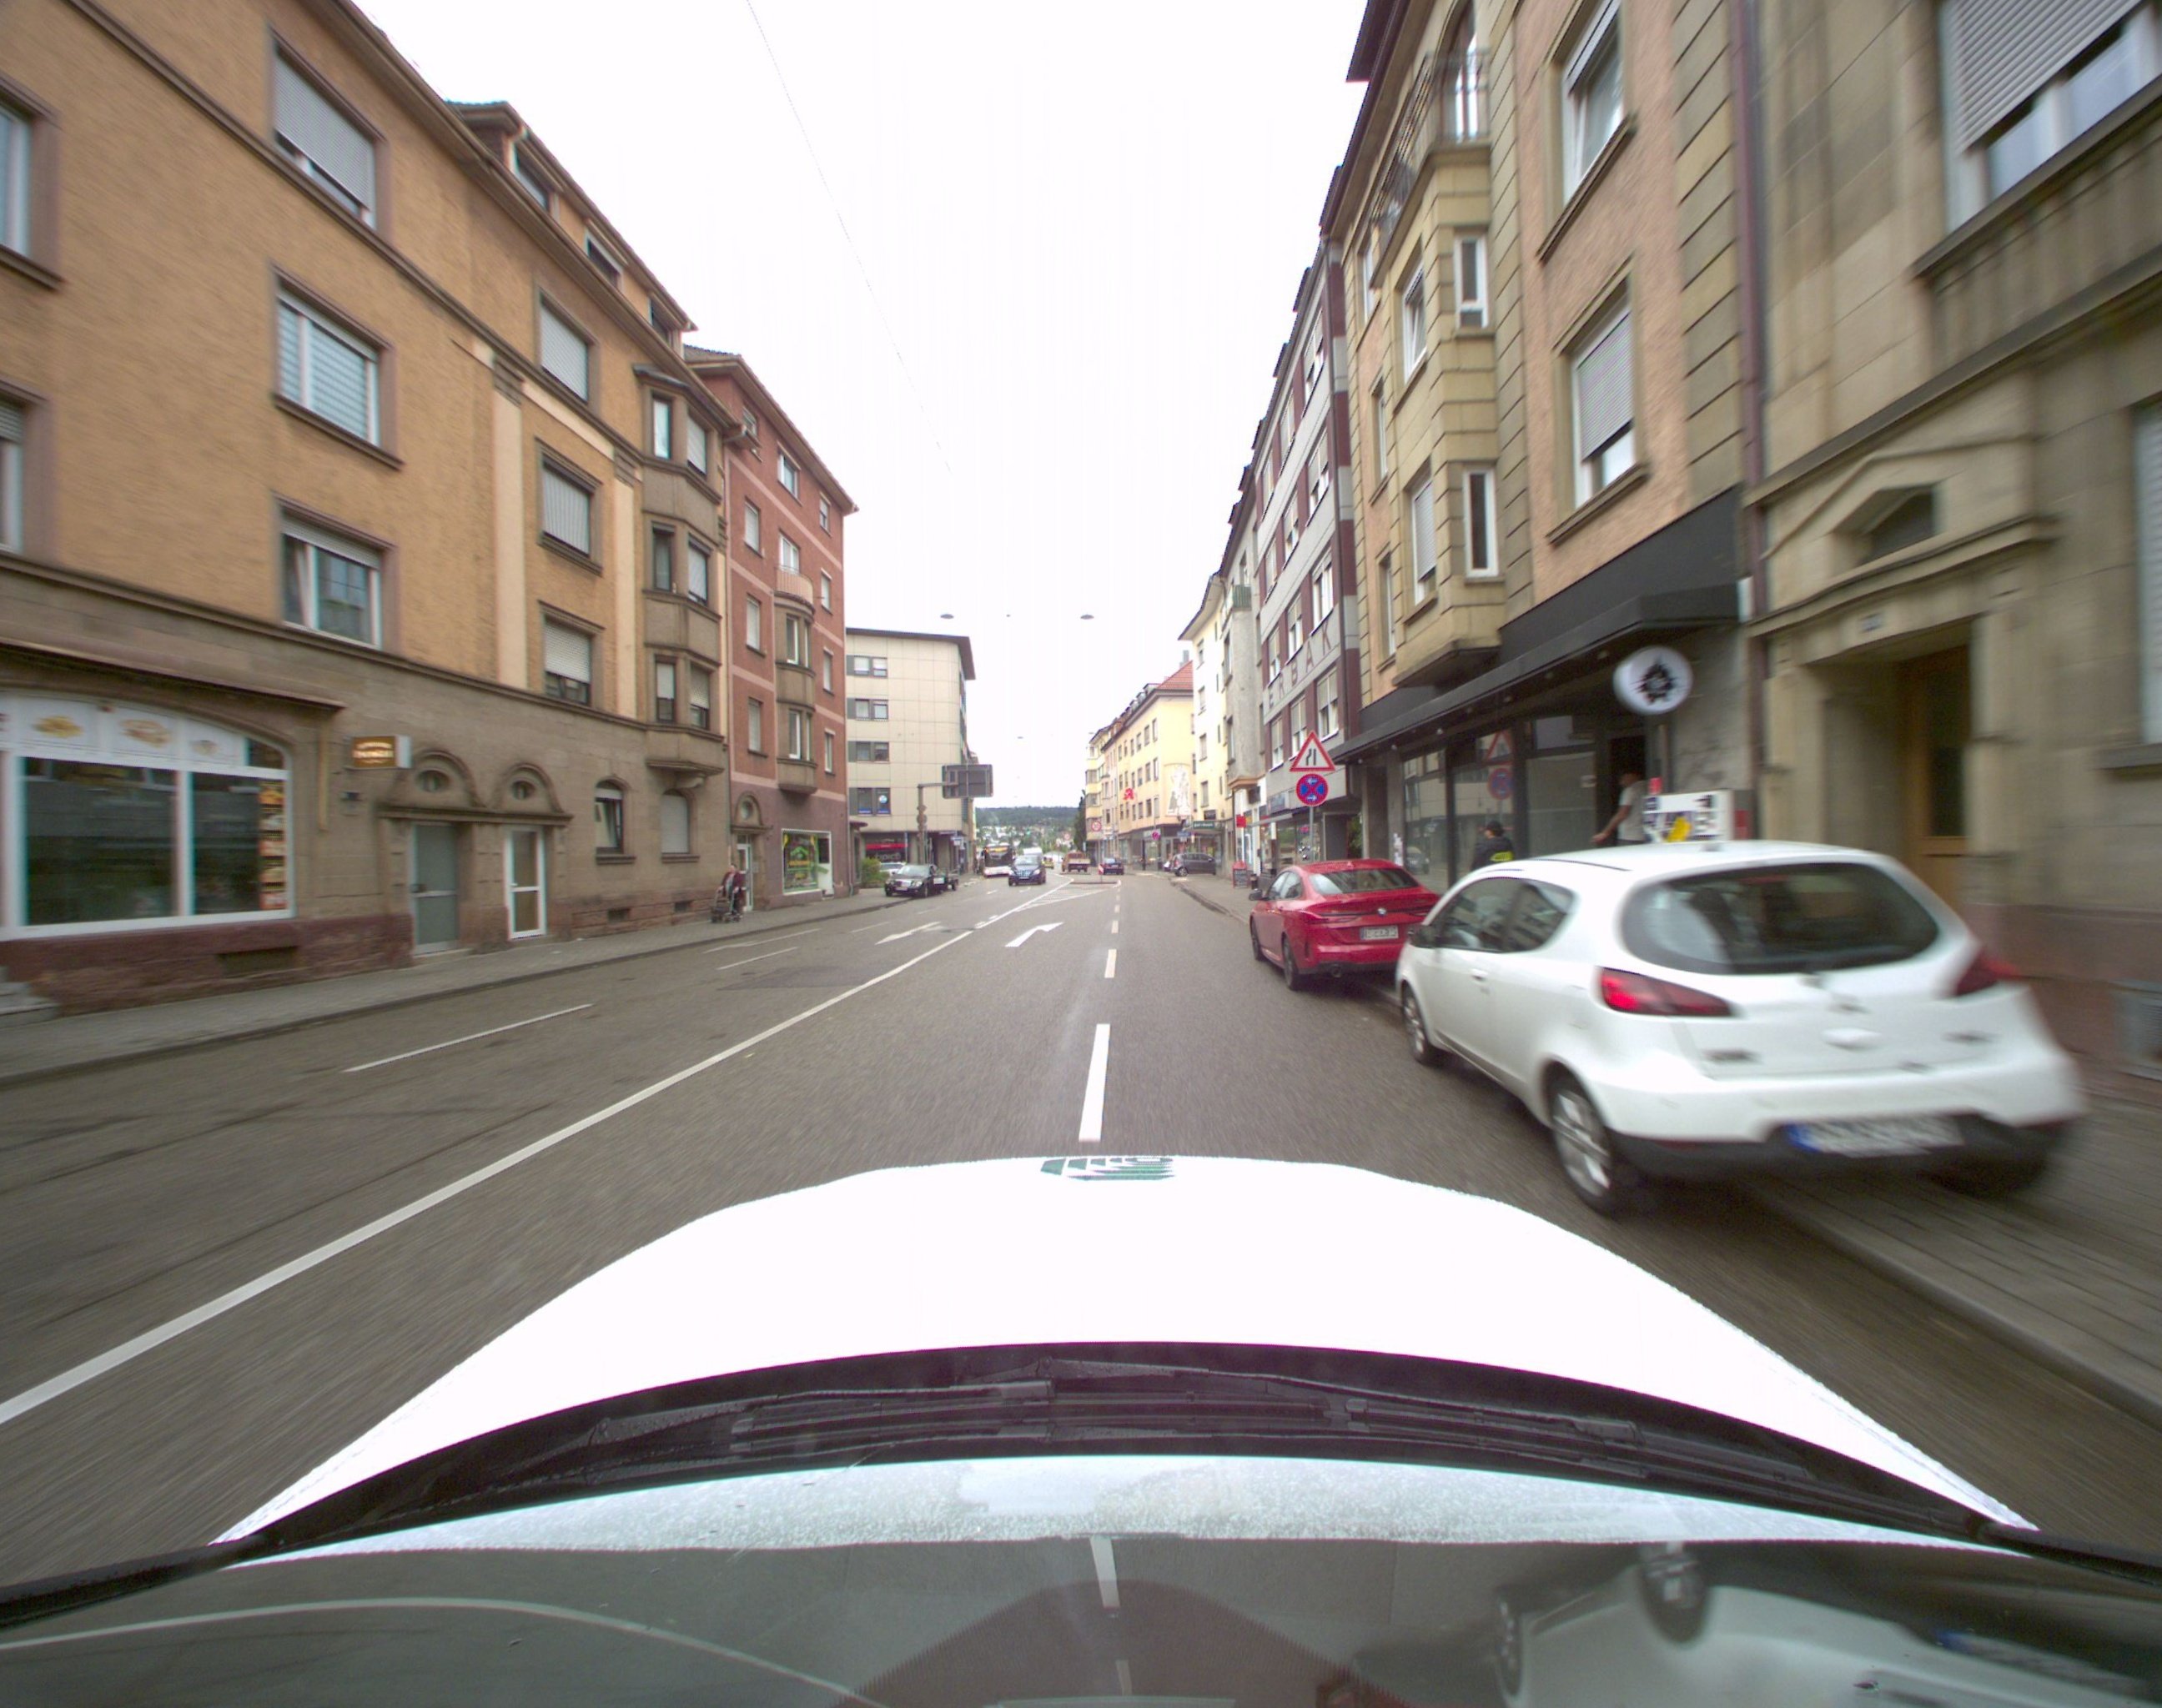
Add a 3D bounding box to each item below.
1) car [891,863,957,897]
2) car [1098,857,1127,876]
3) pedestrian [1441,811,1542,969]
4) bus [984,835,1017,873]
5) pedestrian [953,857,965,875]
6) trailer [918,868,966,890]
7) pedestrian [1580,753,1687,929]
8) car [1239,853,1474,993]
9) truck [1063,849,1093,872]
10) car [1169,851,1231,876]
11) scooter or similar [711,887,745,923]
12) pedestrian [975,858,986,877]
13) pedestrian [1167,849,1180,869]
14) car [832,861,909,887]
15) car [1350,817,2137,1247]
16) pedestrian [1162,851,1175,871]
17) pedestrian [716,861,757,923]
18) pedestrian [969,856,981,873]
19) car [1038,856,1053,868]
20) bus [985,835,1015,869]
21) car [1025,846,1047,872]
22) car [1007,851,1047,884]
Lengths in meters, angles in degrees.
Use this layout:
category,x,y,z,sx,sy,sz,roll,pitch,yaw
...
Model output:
category,x,y,z,sx,sy,sz,roll,pitch,yaw
car,-7.039,1.130,37.064,1.843,1.397,4.795,1,0,2
car,2.522,1.003,65.691,1.752,1.479,3.992,-2,-1,-6
pedestrian,4.882,0.417,9.727,0.741,1.779,0.795,-2,-1,0
bus,-7.333,0.073,74.175,2.755,3.188,8.893,-2,-1,-6
pedestrian,-11.012,1.048,73.670,0.943,1.589,0.833,-2,-1,-4
trailer,-6.960,1.258,41.030,1.580,0.949,3.060,3,0,5
pedestrian,6.226,-0.137,9.211,0.701,1.894,0.649,-2,-1,0
car,3.269,0.716,10.586,1.737,1.369,4.318,-2,0,3
truck,-0.361,0.695,81.528,2.397,2.129,5.303,-2,-1,-6
car,8.018,0.644,54.991,3.817,1.574,1.934,-2,-1,-4
scooter or similar,-9.488,1.368,21.896,0.712,0.925,0.479,0,-1,-10
pedestrian,-9.418,1.261,76.318,0.876,1.692,0.886,-2,-1,-8
pedestrian,7.257,0.402,63.957,0.768,1.560,0.874,-2,-1,-8
car,-13.952,1.328,53.944,4.652,1.533,1.890,-2,-1,-26
car,3.060,0.667,5.128,1.639,1.494,4.455,-2,-1,6
pedestrian,6.786,0.556,63.106,0.778,1.560,0.781,-2,-1,-8
pedestrian,-9.512,1.040,22.535,0.842,1.679,0.850,1,-1,-10
pedestrian,-10.693,1.088,82.309,0.997,1.684,1.264,-2,-1,-4
car,-4.790,1.095,109.941,1.752,1.651,3.992,-2,-1,-6
bus,-8.252,-0.141,83.263,2.722,3.188,9.273,-2,-1,-6
car,-4.633,0.532,82.581,2.082,2.435,6.343,-2,-1,-4
car,-2.945,0.729,45.215,1.747,1.651,4.309,-2,-1,2
